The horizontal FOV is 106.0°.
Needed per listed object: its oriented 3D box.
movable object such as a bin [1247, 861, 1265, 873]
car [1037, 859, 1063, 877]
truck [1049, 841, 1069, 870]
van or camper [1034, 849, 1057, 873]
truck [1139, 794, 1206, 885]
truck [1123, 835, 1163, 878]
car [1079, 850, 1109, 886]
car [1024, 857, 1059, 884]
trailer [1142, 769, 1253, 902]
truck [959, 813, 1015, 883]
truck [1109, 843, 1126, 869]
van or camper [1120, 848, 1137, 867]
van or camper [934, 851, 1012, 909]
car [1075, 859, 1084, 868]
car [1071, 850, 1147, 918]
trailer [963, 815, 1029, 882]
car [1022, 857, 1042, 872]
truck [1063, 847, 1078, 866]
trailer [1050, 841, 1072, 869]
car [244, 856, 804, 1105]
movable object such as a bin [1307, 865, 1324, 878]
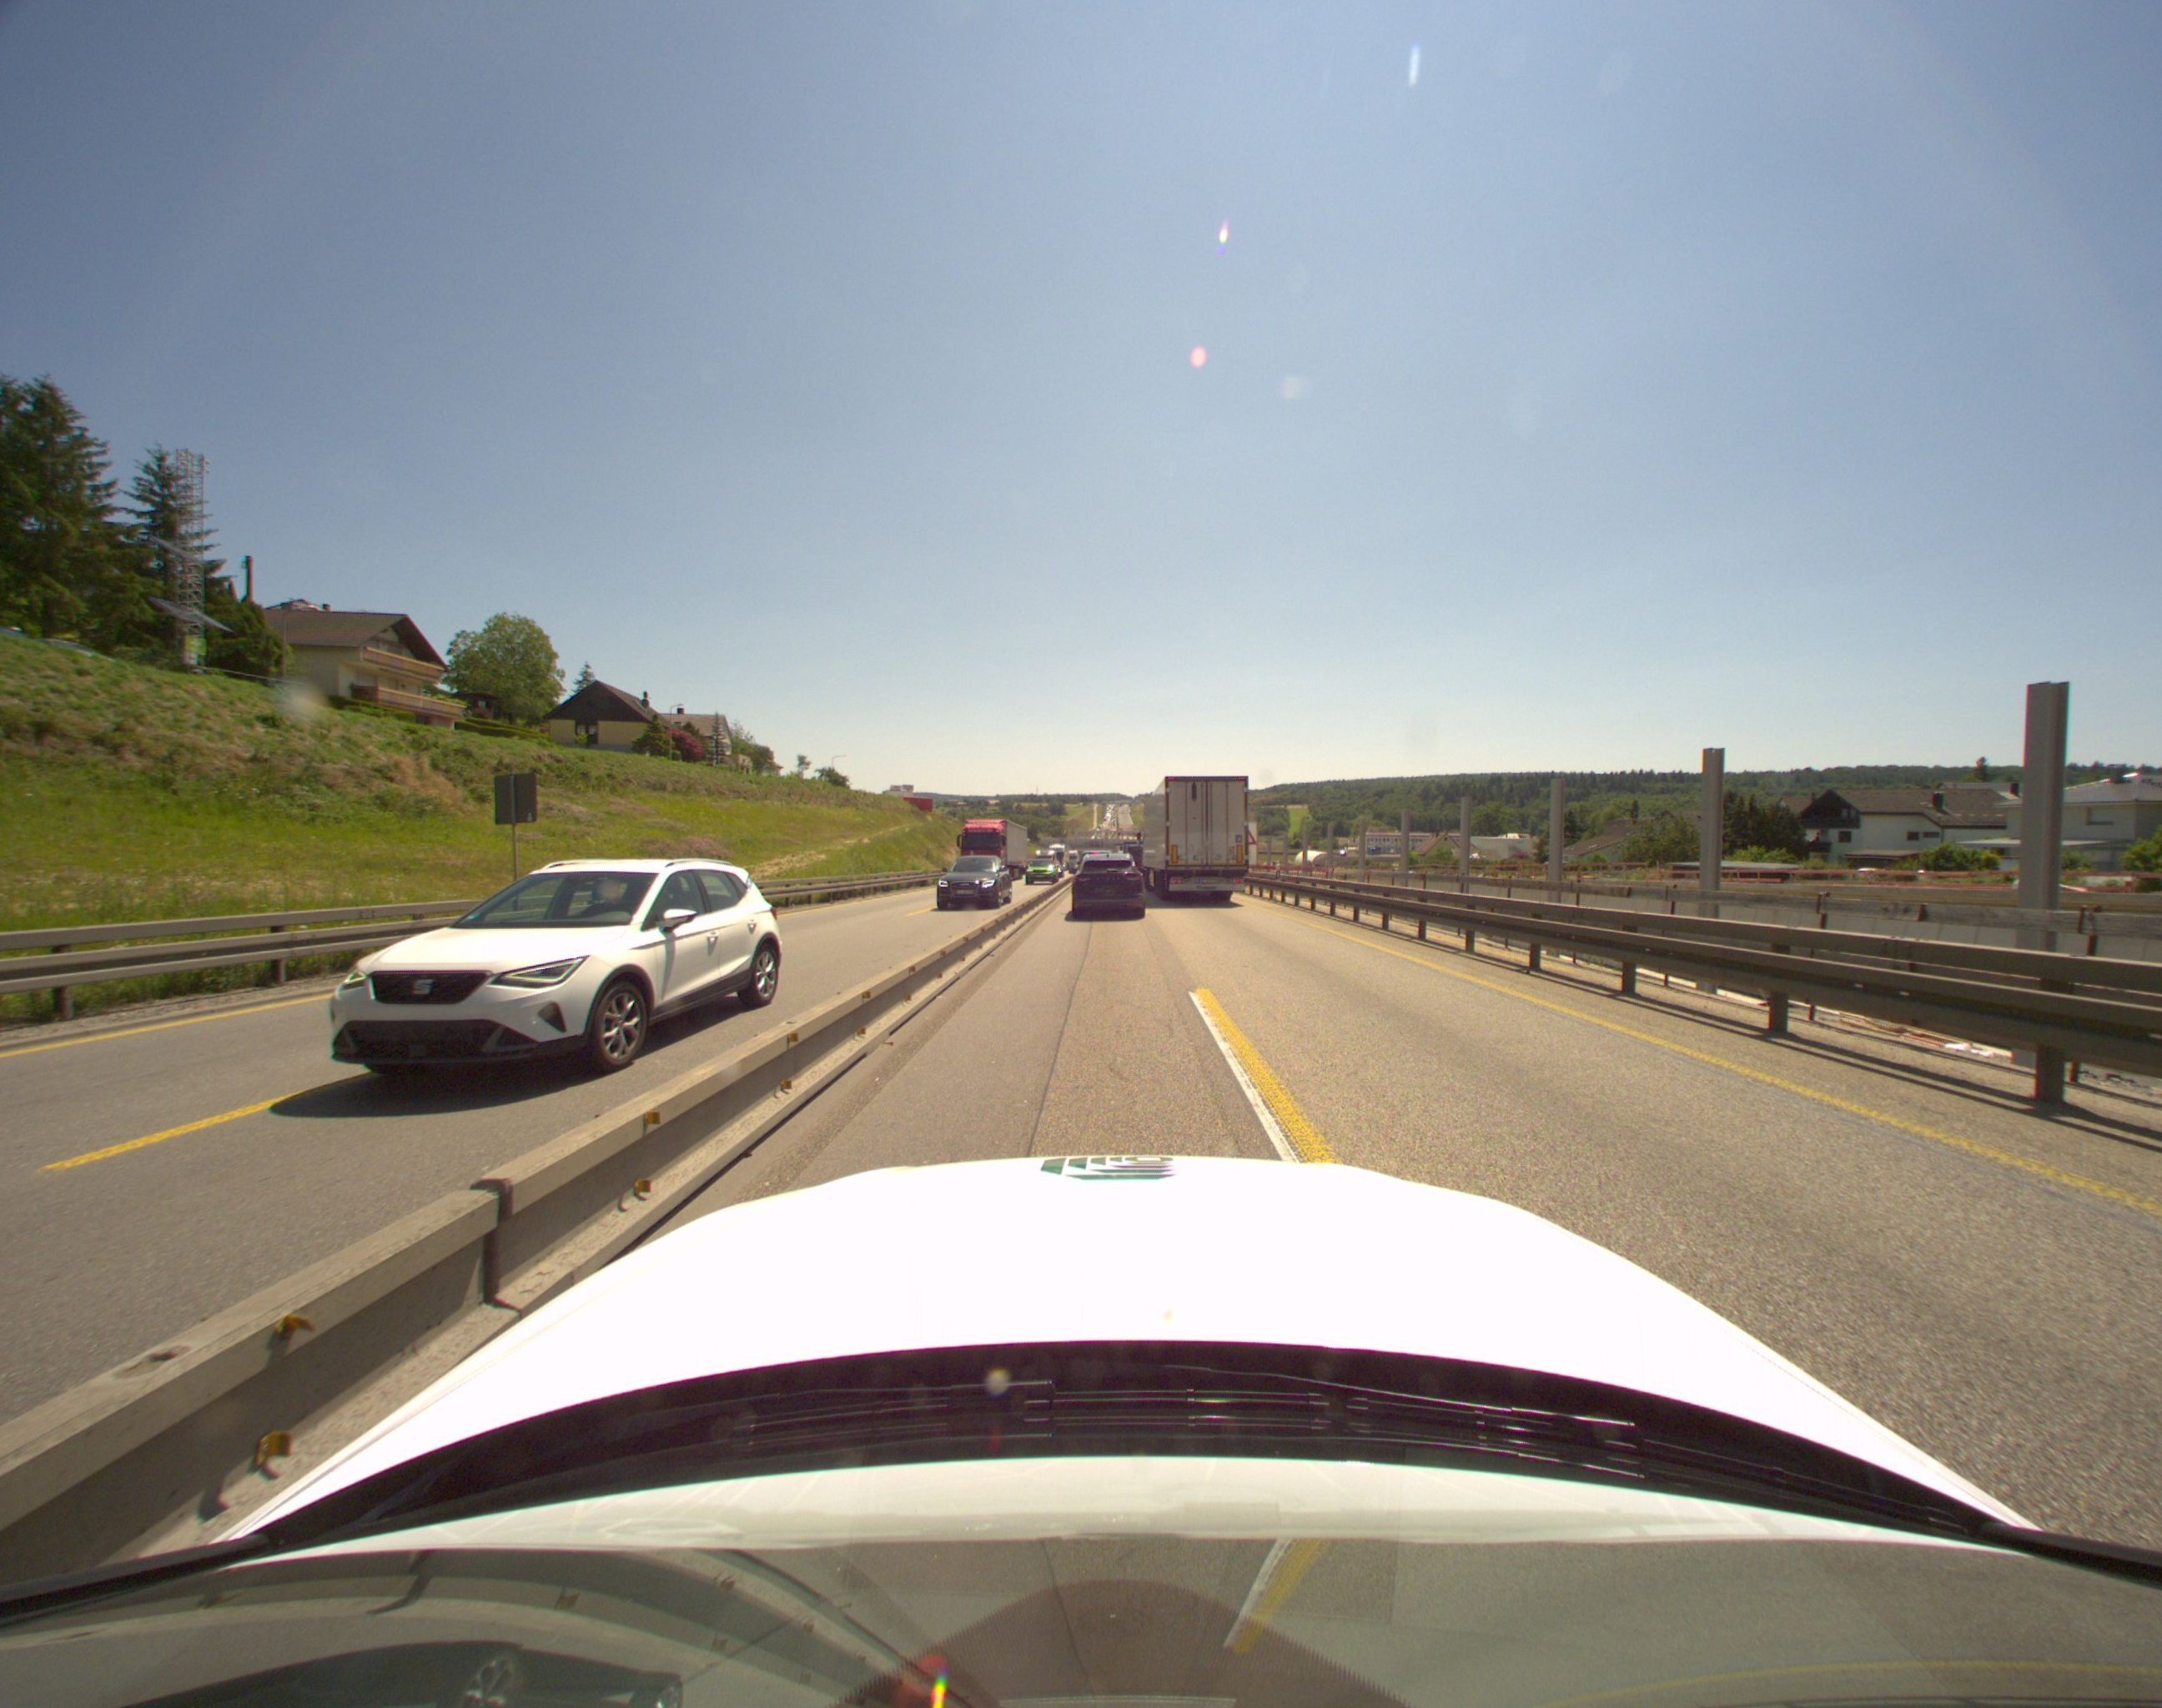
[{"bbox_3d":[44.332,3.270,206.039,2.876,2.909,9.484,-1,-1,3],"label":"movable object such as a bin"},{"bbox_3d":[-2.495,1.134,66.483,1.761,1.363,4.412,-1,0,1],"label":"car"},{"bbox_3d":[-3.337,0.184,123.964,2.764,4.287,4.677,0,-1,1],"label":"truck"},{"bbox_3d":[-4.447,0.868,102.103,2.326,2.777,7.518,-1,0,1],"label":"van or camper"},{"bbox_3d":[4.310,-0.613,39.184,2.766,4.059,4.906,-1,-1,2],"label":"truck"},{"bbox_3d":[4.853,0.298,66.220,2.803,3.135,12.844,-1,-1,2],"label":"truck"},{"bbox_3d":[0.713,0.728,42.602,1.469,1.795,3.299,0,0,2],"label":"car"},{"bbox_3d":[-2.296,0.954,48.557,1.747,1.508,4.002,1,0,2],"label":"car"},{"bbox_3d":[4.098,-0.435,32.141,2.791,4.059,14.121,-1,-1,2],"label":"trailer"},{"bbox_3d":[-5.769,-0.372,50.591,2.811,4.124,4.599,-1,0,1],"label":"truck"},{"bbox_3d":[5.722,0.276,128.791,2.508,3.959,7.601,1,0,1],"label":"truck"},{"bbox_3d":[5.874,0.481,100.081,1.986,2.244,4.002,1,0,2],"label":"van or camper"},{"bbox_3d":[-3.307,0.769,25.706,1.821,1.668,3.890,-1,0,2],"label":"van or camper"},{"bbox_3d":[-0.246,1.595,139.771,1.623,1.479,3.380,0,0,1],"label":"car"},{"bbox_3d":[0.722,0.717,20.962,1.793,1.620,3.299,0,0,2],"label":"car"},{"bbox_3d":[-5.653,-0.332,56.982,2.846,4.124,13.441,-1,0,1],"label":"trailer"},{"bbox_3d":[-5.187,1.113,86.753,1.710,1.552,4.265,-1,0,1],"label":"car"},{"bbox_3d":[-2.314,0.620,180.739,3.227,4.160,4.248,-1,-1,1],"label":"truck"},{"bbox_3d":[-3.163,0.239,131.340,2.800,4.287,14.037,0,0,1],"label":"trailer"},{"bbox_3d":[-4.103,0.766,7.135,1.667,1.476,4.542,0,0,2],"label":"car"},{"bbox_3d":[41.898,3.083,145.439,1.985,2.239,4.154,-1,-1,2],"label":"movable object such as a bin"}]
